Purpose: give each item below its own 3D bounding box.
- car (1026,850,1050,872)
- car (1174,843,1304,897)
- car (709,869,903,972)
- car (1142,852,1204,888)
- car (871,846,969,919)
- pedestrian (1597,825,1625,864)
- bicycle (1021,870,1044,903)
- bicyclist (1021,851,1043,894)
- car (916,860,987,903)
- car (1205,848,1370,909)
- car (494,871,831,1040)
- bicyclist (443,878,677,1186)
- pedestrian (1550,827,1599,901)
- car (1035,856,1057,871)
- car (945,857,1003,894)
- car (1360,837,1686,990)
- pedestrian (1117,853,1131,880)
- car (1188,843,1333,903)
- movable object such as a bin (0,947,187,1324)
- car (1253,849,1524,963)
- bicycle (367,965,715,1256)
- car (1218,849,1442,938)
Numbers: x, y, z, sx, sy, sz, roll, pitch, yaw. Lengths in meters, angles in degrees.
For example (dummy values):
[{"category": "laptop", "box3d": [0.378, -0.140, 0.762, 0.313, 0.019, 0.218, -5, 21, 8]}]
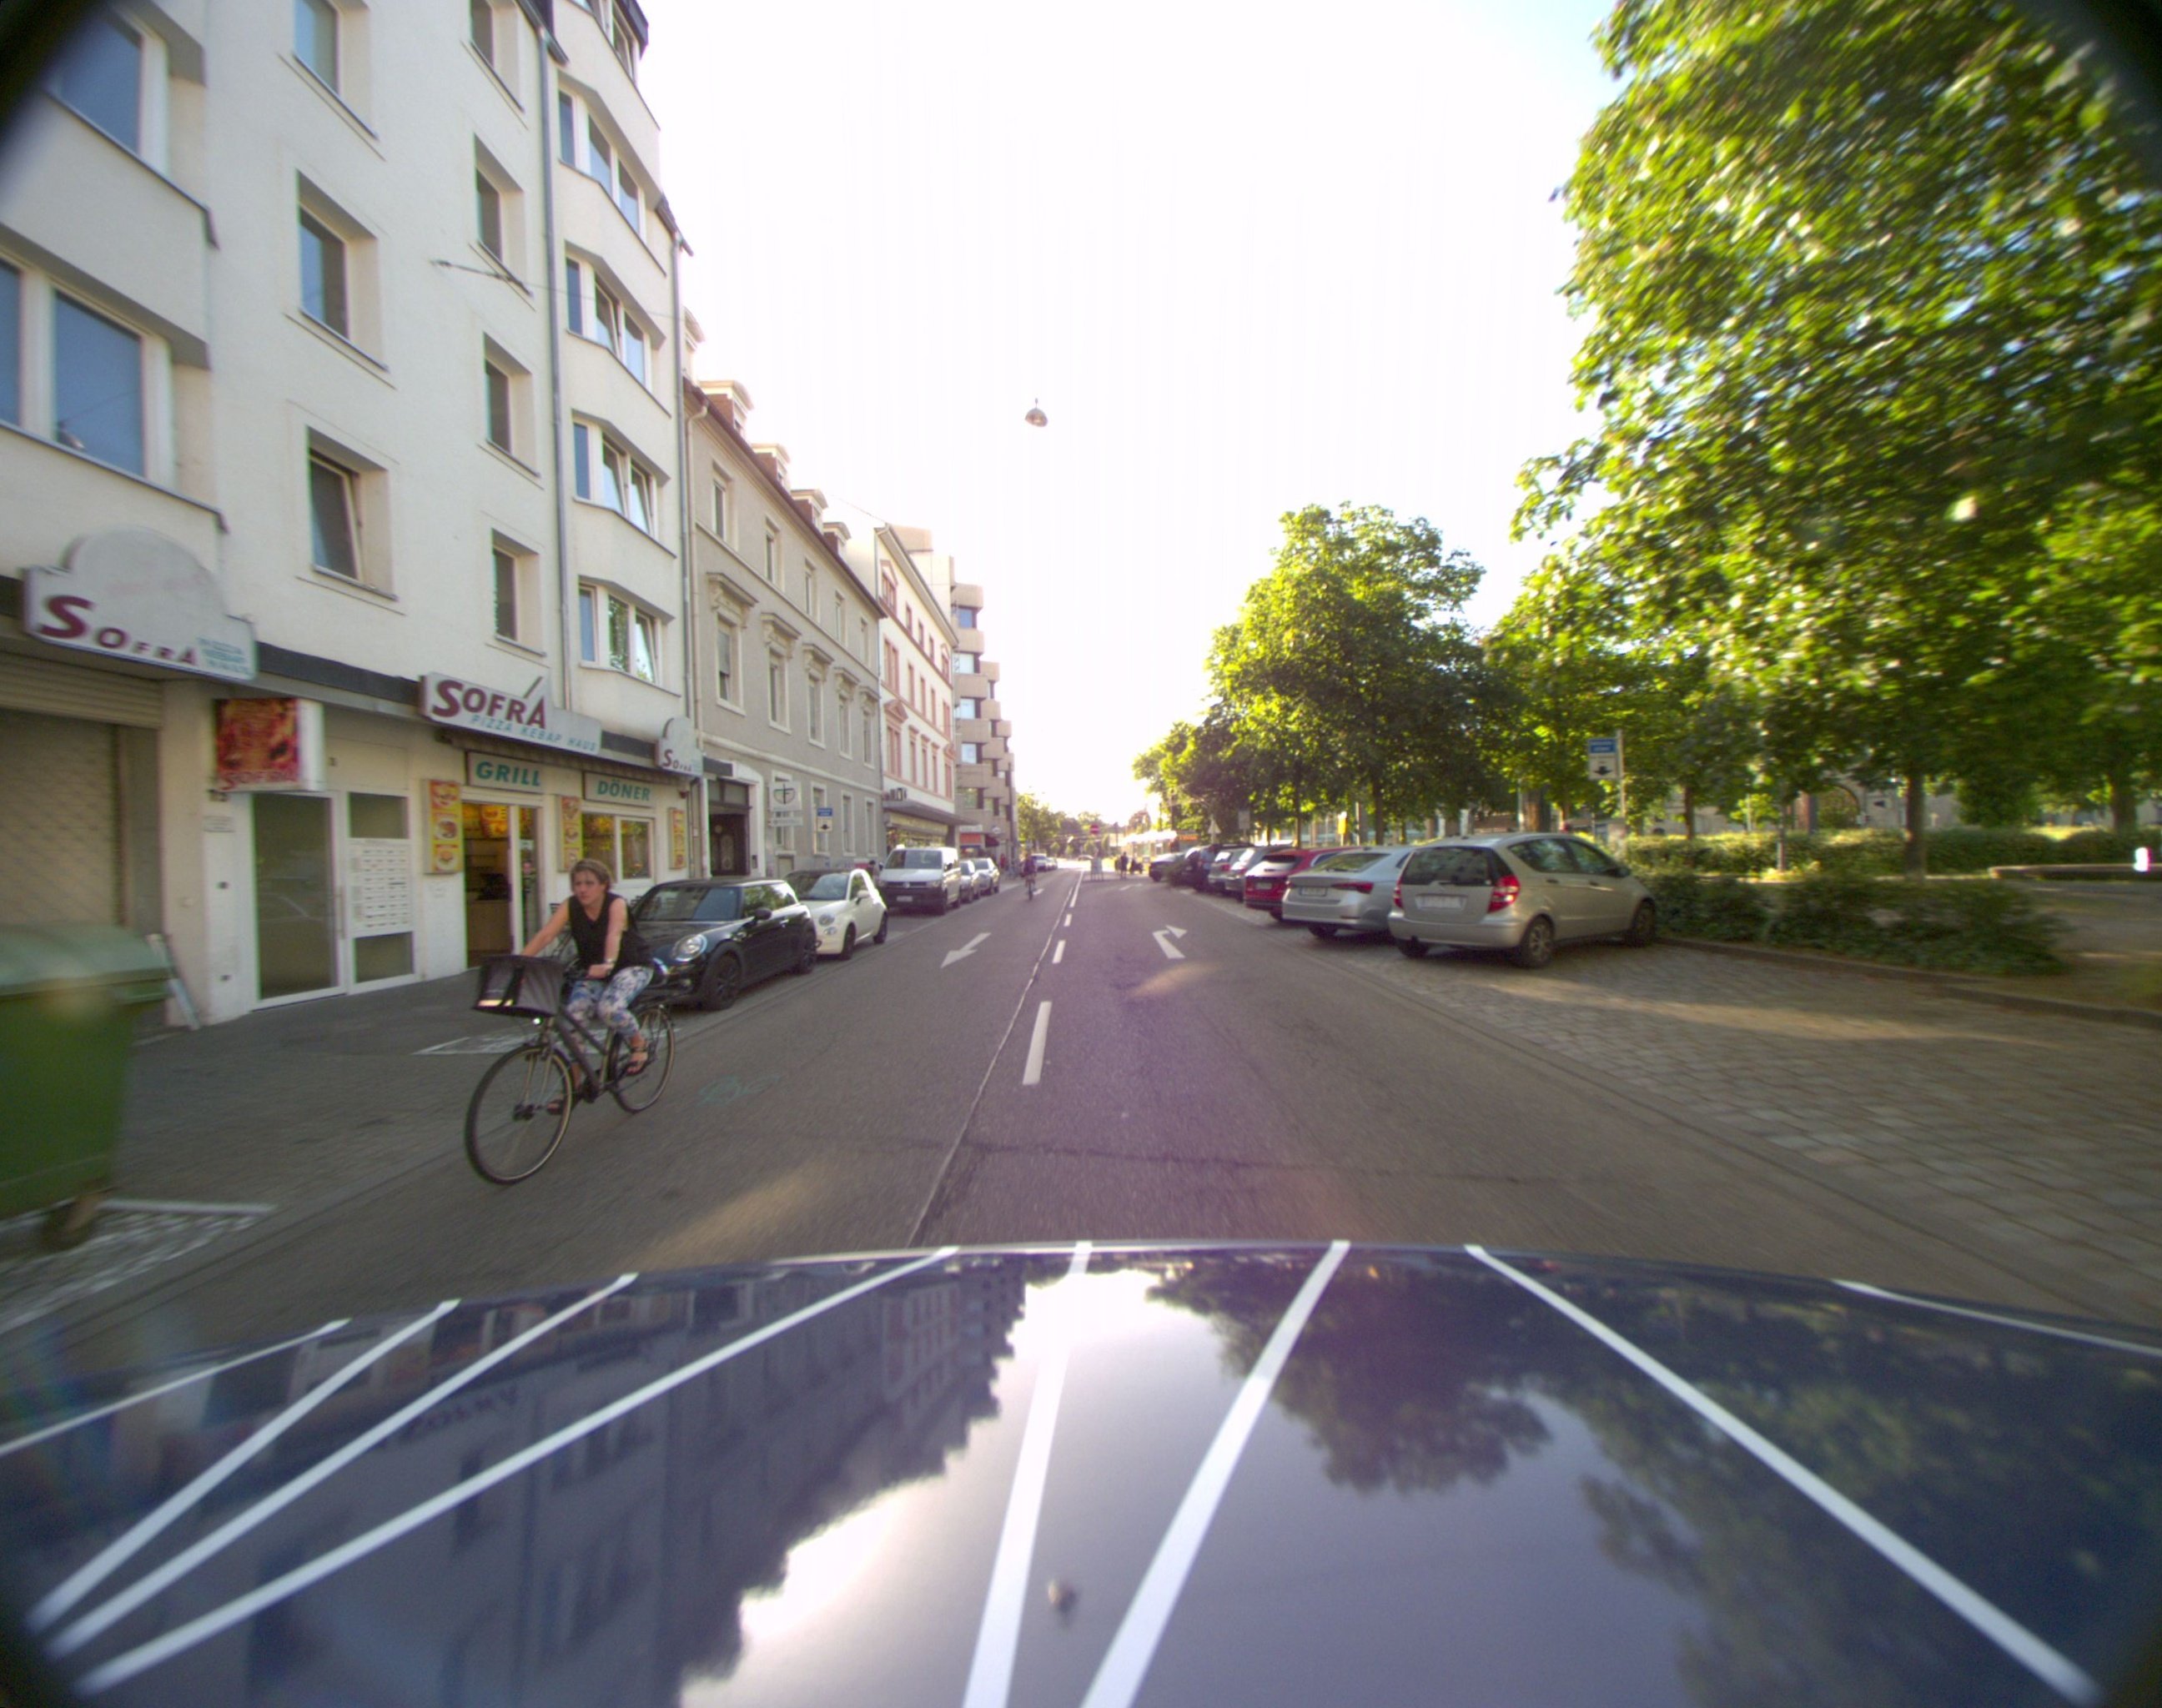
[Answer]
[{"category": "car", "box3d": [-4.287, 0.688, 76.239, 1.998, 2.002, 4.000, -2, 0, 1]}, {"category": "car", "box3d": [5.582, 0.545, 26.975, 4.003, 1.684, 1.997, -2, 0, -19]}, {"category": "car", "box3d": [-4.719, 1.070, 13.743, 1.998, 1.482, 4.000, 0, 0, 1]}, {"category": "car", "box3d": [4.092, 0.665, 33.326, 1.771, 1.421, 4.005, -2, 0, 20]}, {"category": "car", "box3d": [-4.740, 0.766, 23.102, 1.999, 1.942, 5.100, 0, 0, -1]}, {"category": "pedestrian", "box3d": [17.395, -0.309, 24.935, 0.527, 1.250, 0.519, -1, 1, -17]}, {"category": "bicycle", "box3d": [-1.794, 1.195, 28.452, 0.718, 1.105, 2.269, -2, 0, 0]}, {"category": "bicyclist", "box3d": [-1.831, 0.679, 28.318, 0.718, 1.553, 0.864, -2, 1, 0]}, {"category": "car", "box3d": [-4.731, 0.963, 28.226, 1.999, 1.444, 3.869, 0, 0, -1]}, {"category": "car", "box3d": [5.817, 0.658, 21.609, 4.001, 1.465, 1.998, -2, 0, -12]}, {"category": "car", "box3d": [-4.853, 1.064, 9.608, 1.998, 1.565, 4.000, 0, 0, 1]}, {"category": "bicyclist", "box3d": [-2.968, 0.950, 4.432, 0.658, 1.562, 0.909, -2, 1, 1]}, {"category": "pedestrian", "box3d": [8.493, 0.167, 13.084, 0.521, 1.250, 0.525, -2, 1, -33]}, {"category": "car", "box3d": [-3.811, 0.987, 83.151, 1.998, 1.494, 4.001, -2, 0, 3]}, {"category": "car", "box3d": [-4.586, 0.891, 33.075, 1.999, 1.444, 3.955, 0, 0, -1]}, {"category": "car", "box3d": [5.883, 0.638, 10.045, 4.006, 1.553, 1.995, -2, 0, -31]}, {"category": "pedestrian", "box3d": [2.495, 0.732, 44.319, 0.691, 1.578, 0.615, -2, 1, 11]}, {"category": "car", "box3d": [5.713, 0.551, 24.291, 4.003, 1.635, 2.099, -2, 2, -19]}, {"category": "movable object such as a bin", "box3d": [-4.913, 1.172, 2.979, 1.147, 1.413, 1.411, 1, 1, 4]}, {"category": "car", "box3d": [4.996, 0.719, 12.269, 4.006, 1.433, 1.995, -2, 0, -31]}, {"category": "bicycle", "box3d": [-2.952, 1.328, 4.452, 0.666, 1.061, 1.836, -2, 0, 1]}, {"category": "car", "box3d": [5.056, 0.723, 15.416, 4.005, 1.465, 1.996, -2, 0, -25]}]
